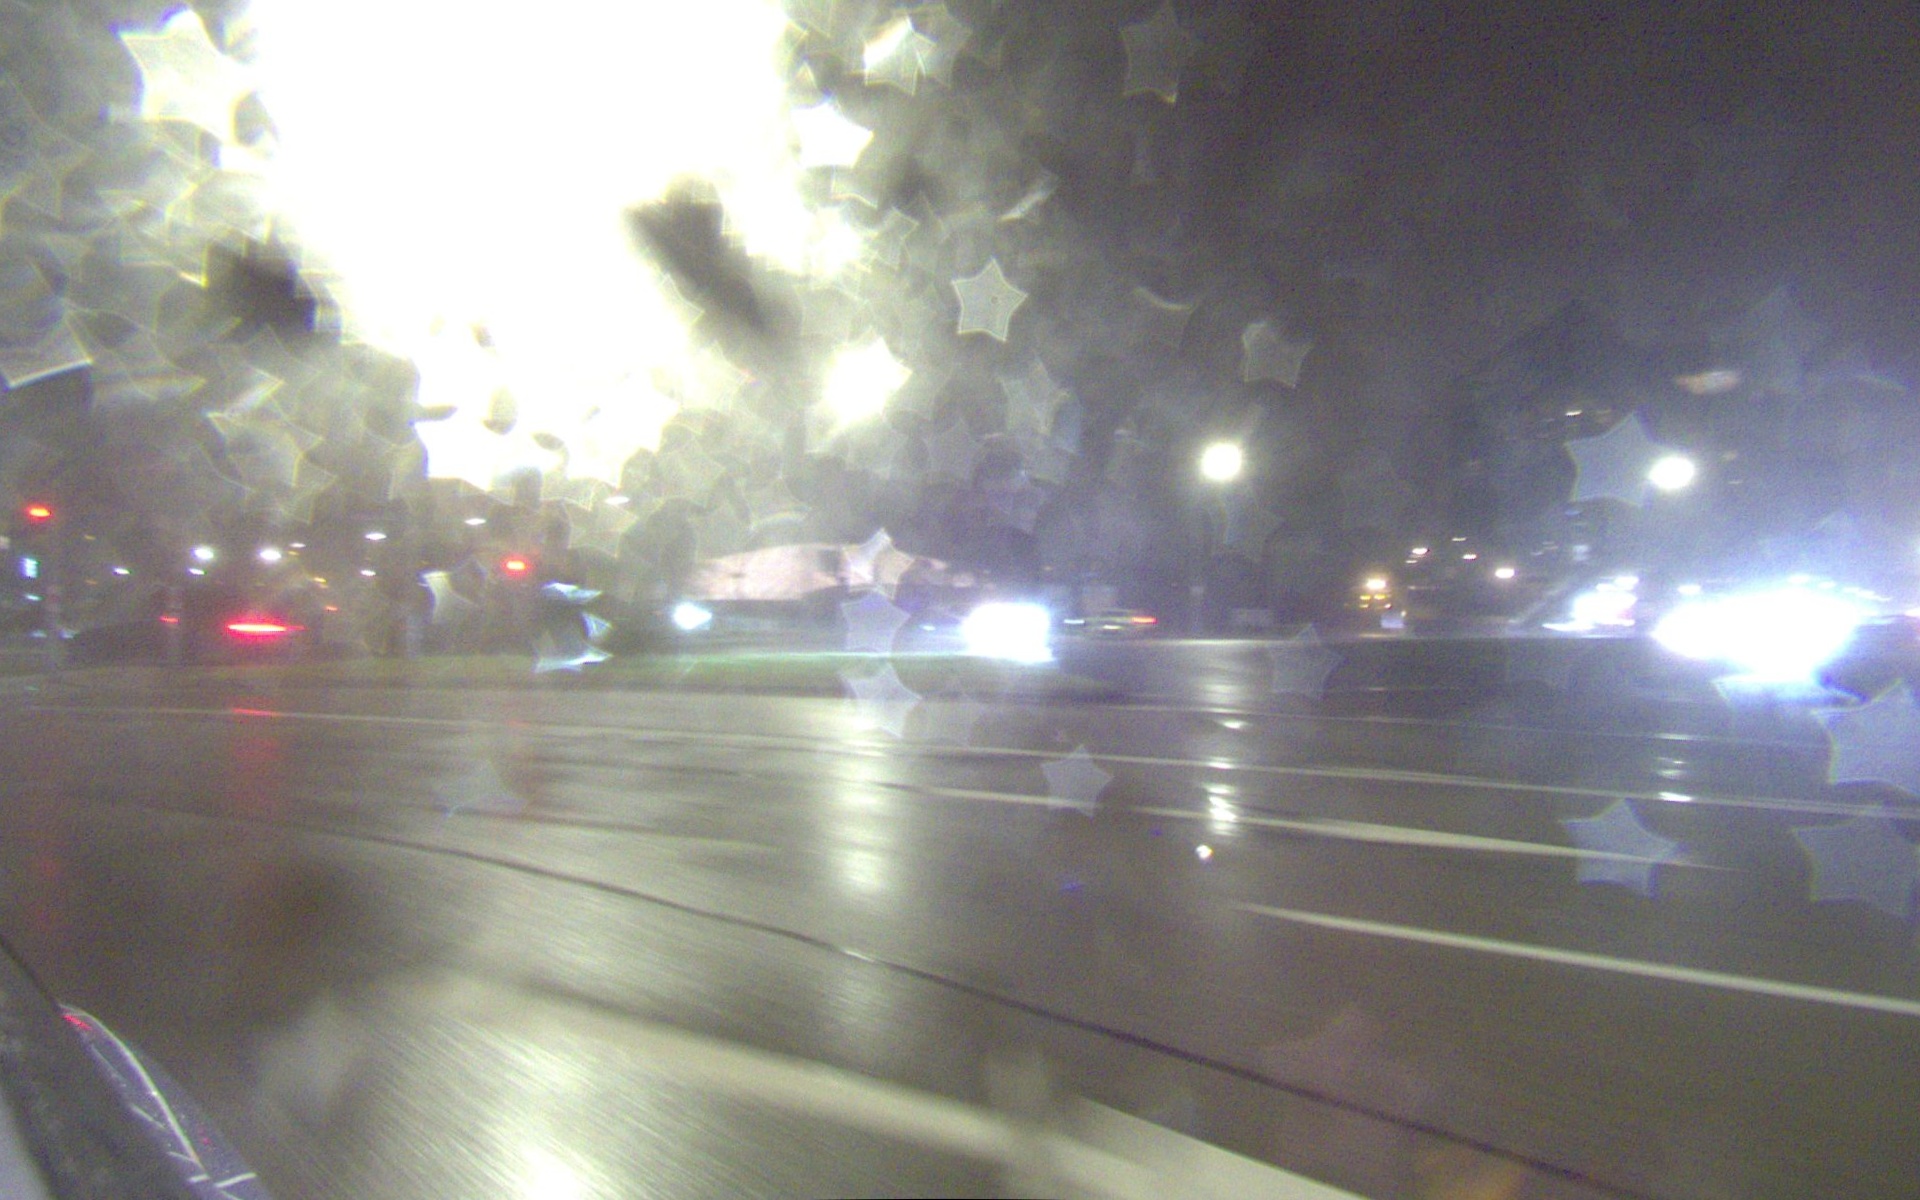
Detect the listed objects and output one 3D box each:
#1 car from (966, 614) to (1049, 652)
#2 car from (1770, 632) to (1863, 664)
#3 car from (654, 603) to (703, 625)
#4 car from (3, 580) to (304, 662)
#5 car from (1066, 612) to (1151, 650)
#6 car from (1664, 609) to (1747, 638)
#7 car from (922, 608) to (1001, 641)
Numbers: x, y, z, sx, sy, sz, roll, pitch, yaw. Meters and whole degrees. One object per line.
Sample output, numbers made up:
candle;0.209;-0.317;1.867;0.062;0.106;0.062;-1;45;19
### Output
car;1.983;1.297;40.894;1.822;1.383;3.909;1;1;29
car;46.645;2.590;55.154;3.810;1.630;1.777;0;0;-10
car;-20.275;0.980;72.796;4.002;1.541;1.655;1;1;45
car;-18.356;0.447;23.359;5.043;1.745;2.069;0;0;-17
car;8.483;1.749;57.795;4.397;2.029;1.983;1;0;25
car;43.507;1.363;59.087;3.810;1.630;1.777;0;0;-10
car;0.071;1.252;52.850;3.998;1.586;1.736;1;1;41
